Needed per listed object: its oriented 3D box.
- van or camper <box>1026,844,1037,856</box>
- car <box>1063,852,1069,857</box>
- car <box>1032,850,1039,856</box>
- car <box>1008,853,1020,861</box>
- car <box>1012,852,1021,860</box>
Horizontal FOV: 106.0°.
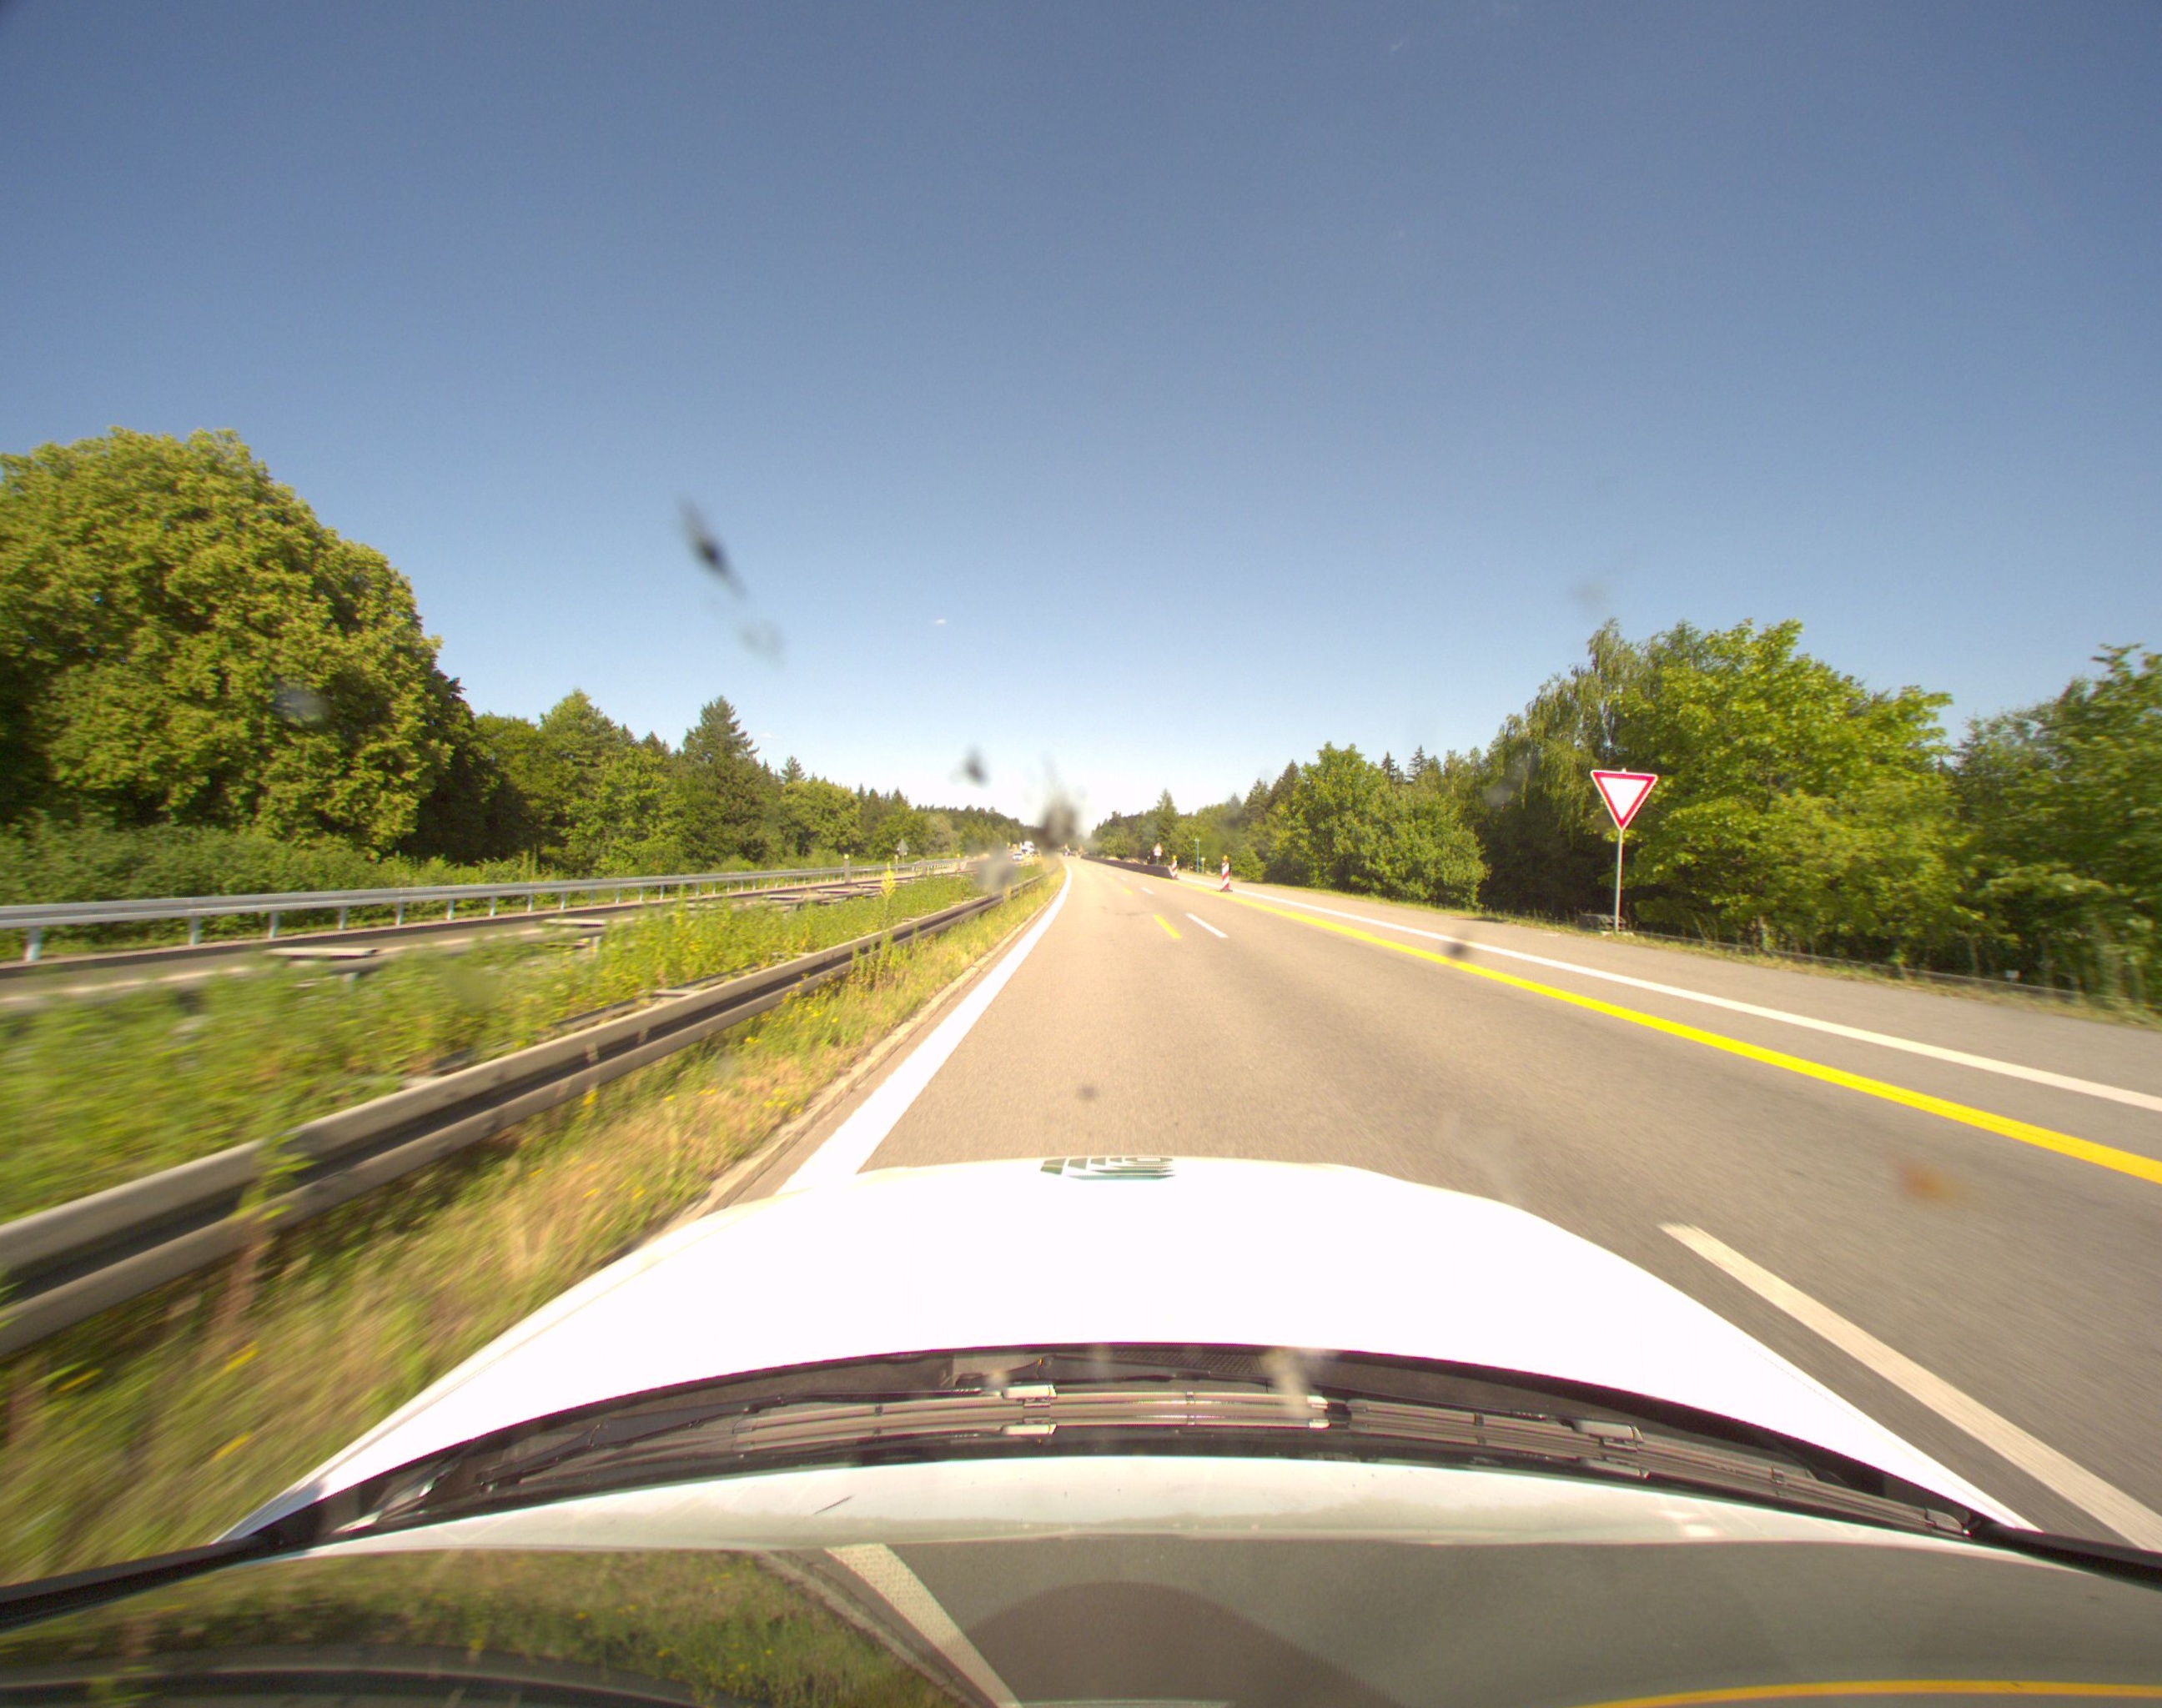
[{"bbox_3d":[-12.569,-0.942,207.712,2.399,2.950,7.517,0,0,-2],"label":"van or camper"},{"bbox_3d":[-4.460,0.216,241.583,1.740,1.466,4.289,1,0,-3],"label":"car"},{"bbox_3d":[-12.056,-0.166,218.022,1.737,1.530,3.997,-1,0,-2],"label":"car"},{"bbox_3d":[-11.837,0.488,144.675,1.878,1.432,4.979,0,0,-2],"label":"car"},{"bbox_3d":[-12.940,0.367,163.326,1.697,1.432,4.952,-1,0,-2],"label":"car"}]
